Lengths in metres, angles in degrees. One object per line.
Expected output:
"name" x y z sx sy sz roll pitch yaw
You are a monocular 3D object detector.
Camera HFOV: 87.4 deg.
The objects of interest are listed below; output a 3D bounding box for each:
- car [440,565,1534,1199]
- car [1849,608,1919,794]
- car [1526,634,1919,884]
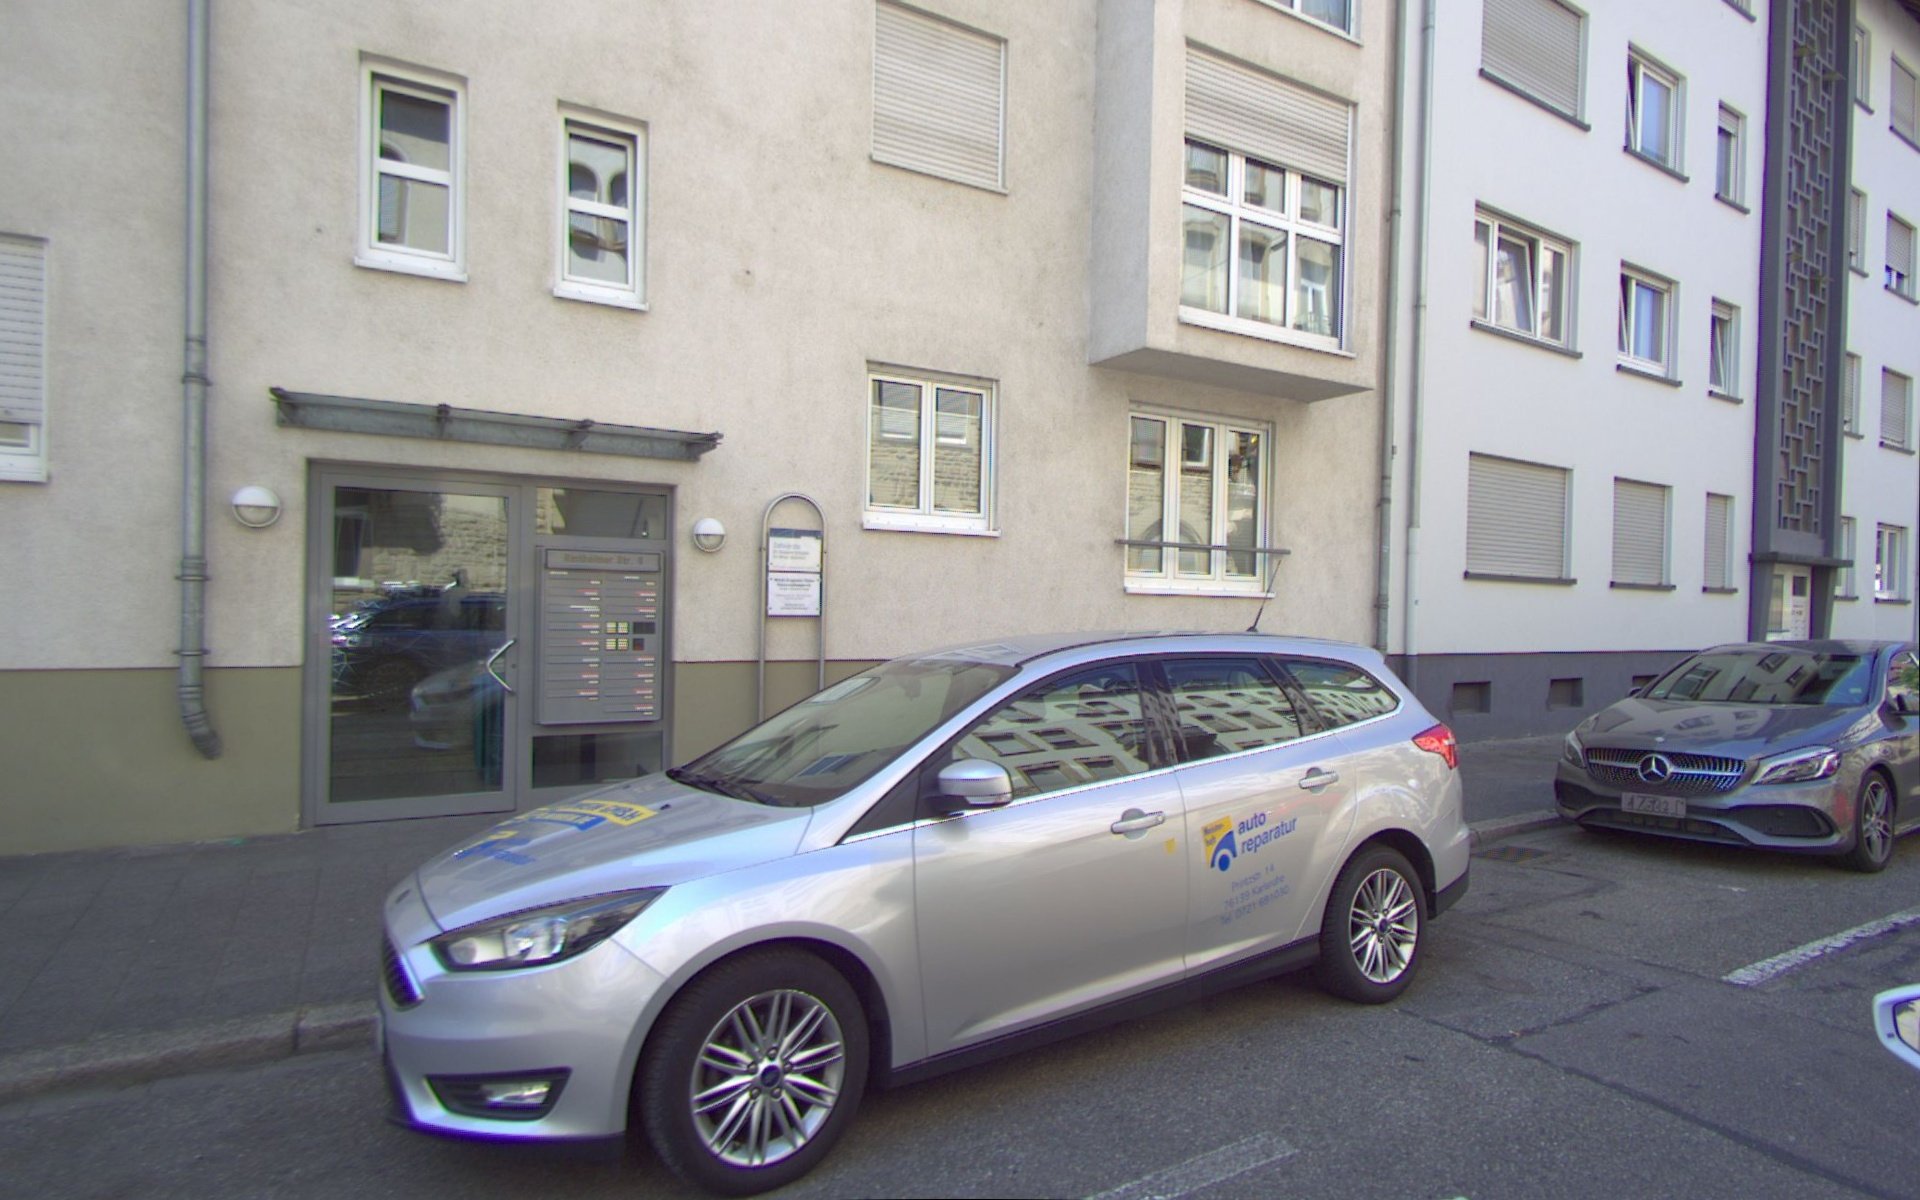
"car" 0.336 0.763 4.160 4.300 1.514 1.721 2 -3 -32
"car" 10.440 0.947 9.809 3.933 1.666 1.595 2 -2 -32
"car" 6.336 0.976 7.599 4.300 1.411 1.755 2 -2 -32
